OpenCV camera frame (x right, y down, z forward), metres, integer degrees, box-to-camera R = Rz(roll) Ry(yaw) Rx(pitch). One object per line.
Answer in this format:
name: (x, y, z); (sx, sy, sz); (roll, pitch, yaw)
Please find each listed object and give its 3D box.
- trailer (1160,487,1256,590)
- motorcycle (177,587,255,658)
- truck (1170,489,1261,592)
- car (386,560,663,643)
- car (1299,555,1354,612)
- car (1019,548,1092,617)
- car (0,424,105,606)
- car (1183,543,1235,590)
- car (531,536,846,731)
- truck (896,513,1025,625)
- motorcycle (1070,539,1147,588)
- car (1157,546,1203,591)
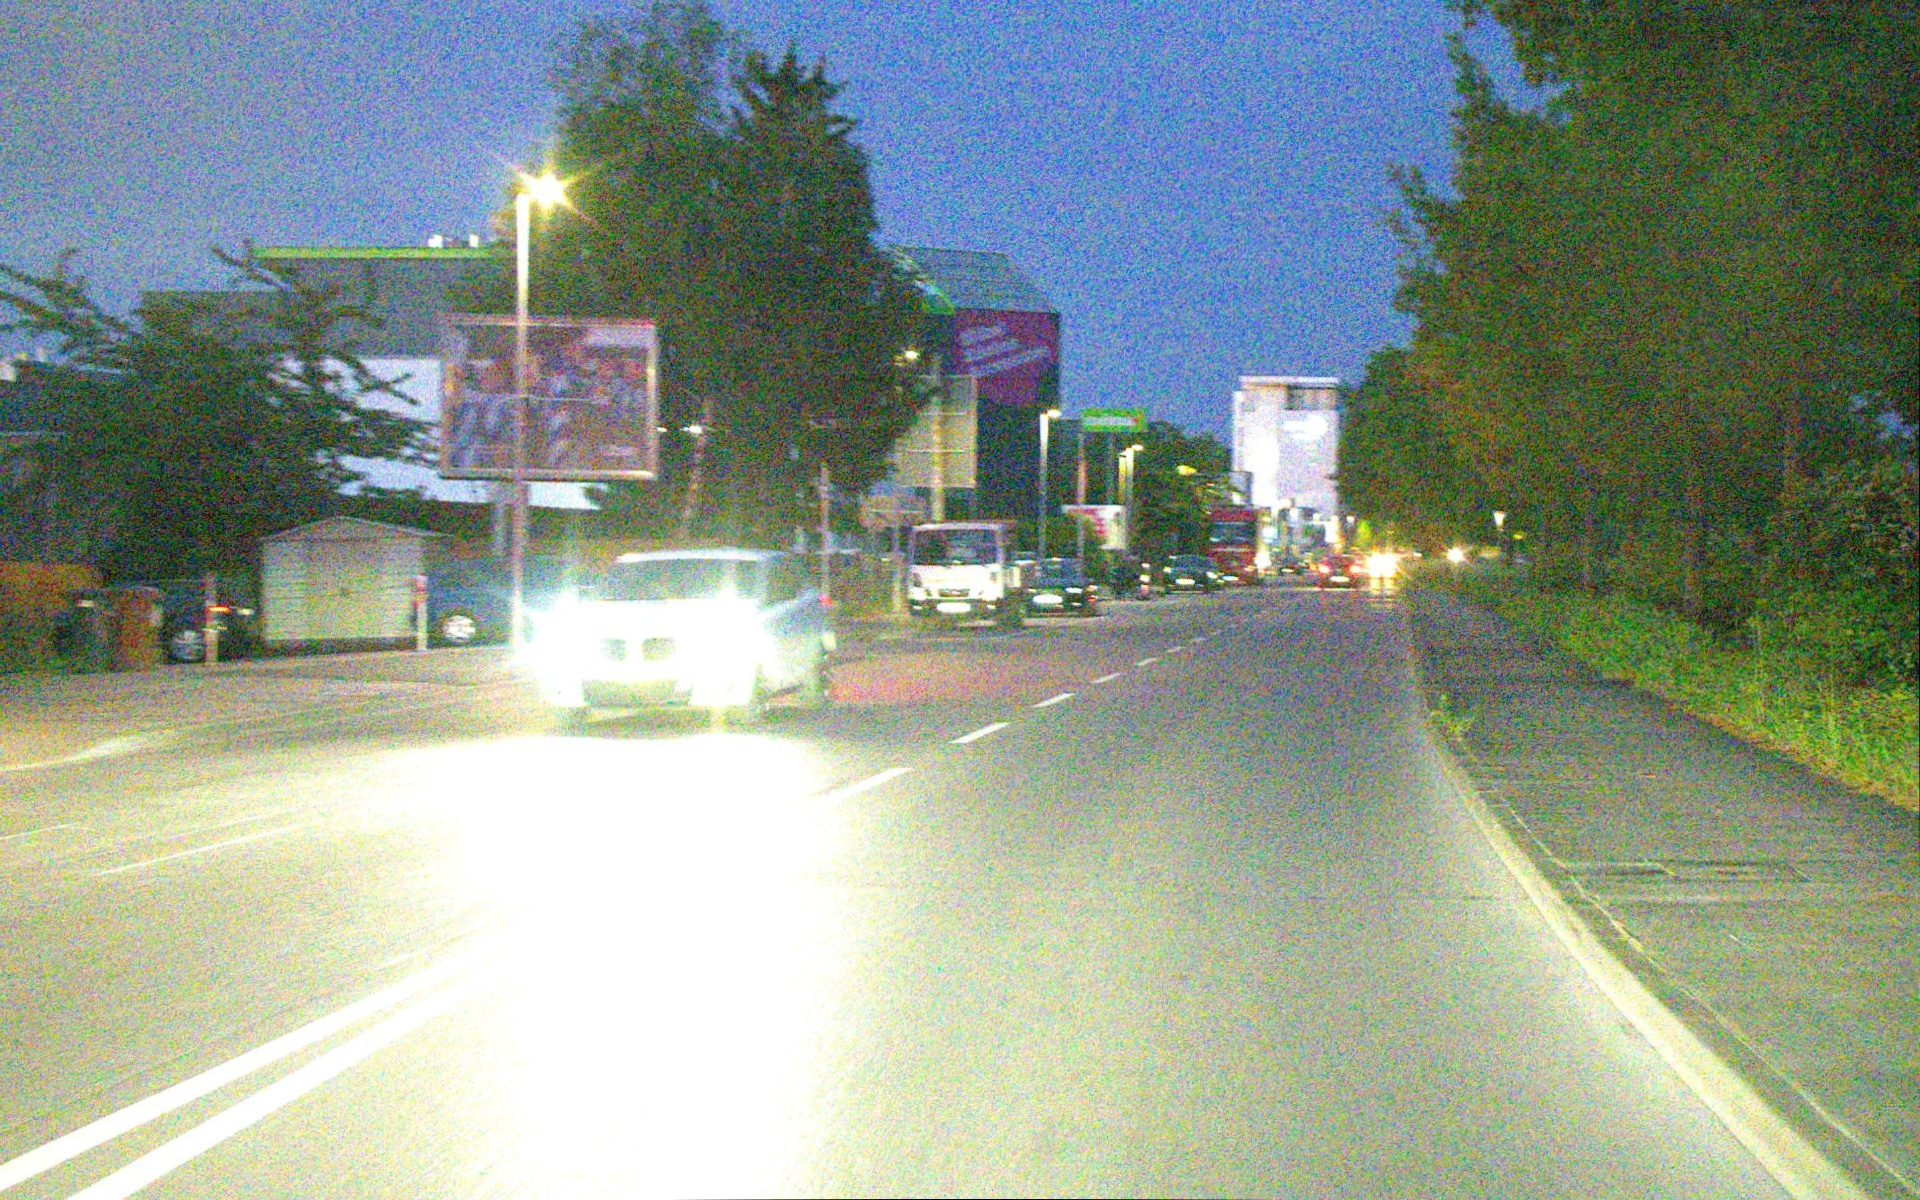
trailer: (12.812, -3.290, 178.747); (3.840, 4.874, 10.810); (3, 3, -1)
motorcycle: (-12.535, 0.368, 57.956); (0.985, 1.140, 1.849); (1, 1, -3)
truck: (12.853, -3.057, 173.721); (3.840, 4.874, 6.354); (3, 3, -1)
car: (-7.261, 0.012, 57.498); (4.349, 1.355, 1.642); (0, 0, 4)
car: (14.454, -0.660, 135.695); (1.994, 2.006, 4.000); (-2, 2, 5)
car: (2.321, -0.434, 83.207); (1.717, 1.612, 3.839); (0, 1, 2)
car: (-11.537, -1.022, 39.375); (1.994, 2.006, 3.999); (3, 3, 8)
car: (10.716, -1.451, 148.114); (1.993, 1.890, 4.000); (-1, 2, 1)
car: (-2.336, 0.244, 30.766); (1.756, 1.602, 4.450); (0, 1, 10)
truck: (0.064, -0.635, 68.917); (2.248, 2.122, 5.979); (-1, 1, 3)
motorcycle: (6.430, -1.577, 148.802); (1.321, 2.006, 3.992); (4, 3, 34)
car: (8.674, -1.248, 135.796); (1.725, 1.733, 3.807); (0, 1, 2)
